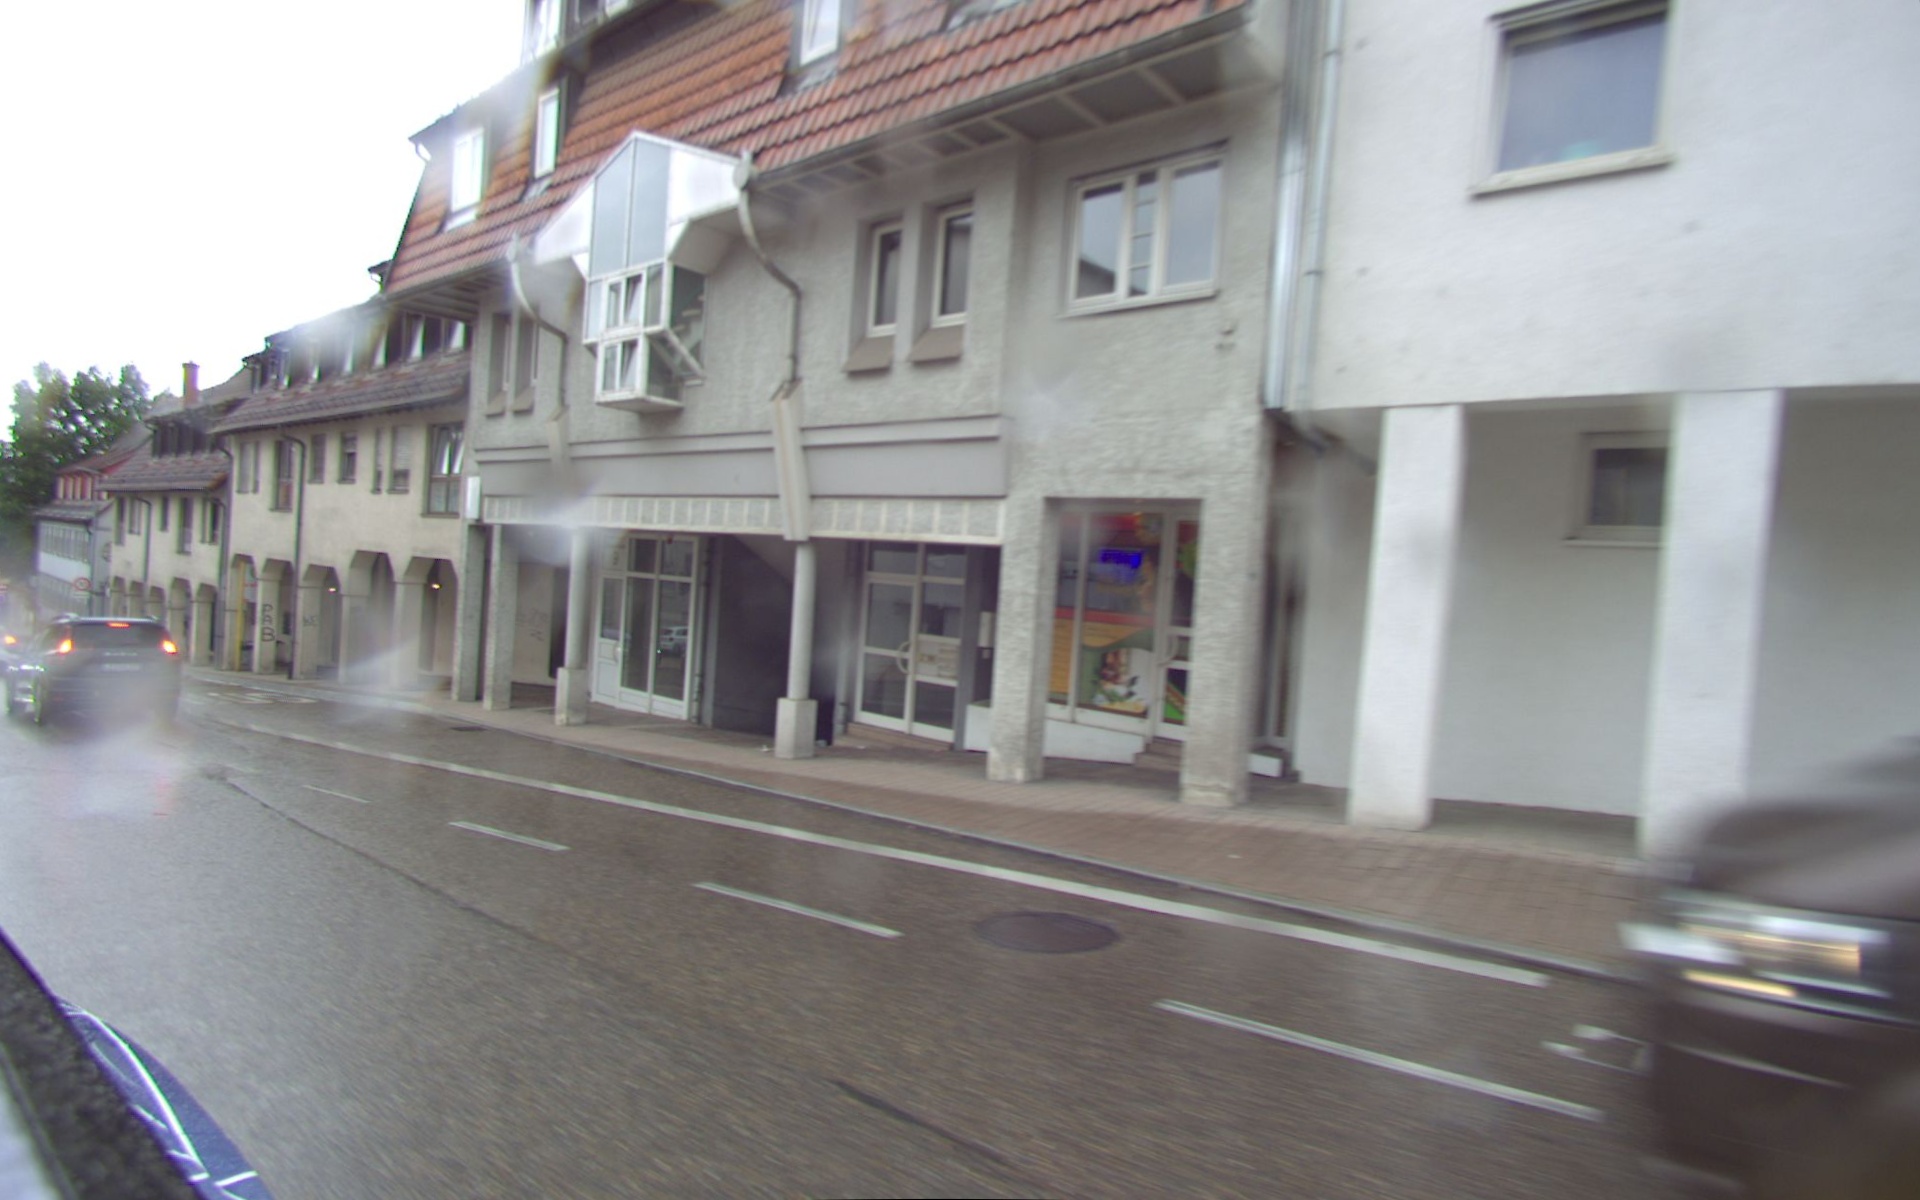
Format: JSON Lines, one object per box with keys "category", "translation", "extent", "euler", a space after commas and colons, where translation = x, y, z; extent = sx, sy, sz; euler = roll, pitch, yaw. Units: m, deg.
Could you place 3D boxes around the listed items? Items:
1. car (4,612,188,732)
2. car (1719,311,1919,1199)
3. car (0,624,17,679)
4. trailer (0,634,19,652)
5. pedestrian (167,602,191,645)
{"category": "car", "translation": [-14.306, 1.081, 16.668], "extent": [4.459, 1.707, 1.762], "euler": [-1, -2, 43]}
{"category": "car", "translation": [3.954, 0.491, 1.048], "extent": [5.035, 1.922, 1.913], "euler": [-1, -3, 38]}
{"category": "car", "translation": [-28.235, 1.448, 28.858], "extent": [3.588, 1.521, 1.659], "euler": [-1, -2, 43]}
{"category": "trailer", "translation": [-52.820, 2.343, 55.193], "extent": [4.478, 0.912, 1.971], "euler": [-1, -1, 44]}
{"category": "pedestrian", "translation": [-32.175, 0.953, 41.702], "extent": [0.735, 1.753, 0.680], "euler": [-1, 0, 45]}
